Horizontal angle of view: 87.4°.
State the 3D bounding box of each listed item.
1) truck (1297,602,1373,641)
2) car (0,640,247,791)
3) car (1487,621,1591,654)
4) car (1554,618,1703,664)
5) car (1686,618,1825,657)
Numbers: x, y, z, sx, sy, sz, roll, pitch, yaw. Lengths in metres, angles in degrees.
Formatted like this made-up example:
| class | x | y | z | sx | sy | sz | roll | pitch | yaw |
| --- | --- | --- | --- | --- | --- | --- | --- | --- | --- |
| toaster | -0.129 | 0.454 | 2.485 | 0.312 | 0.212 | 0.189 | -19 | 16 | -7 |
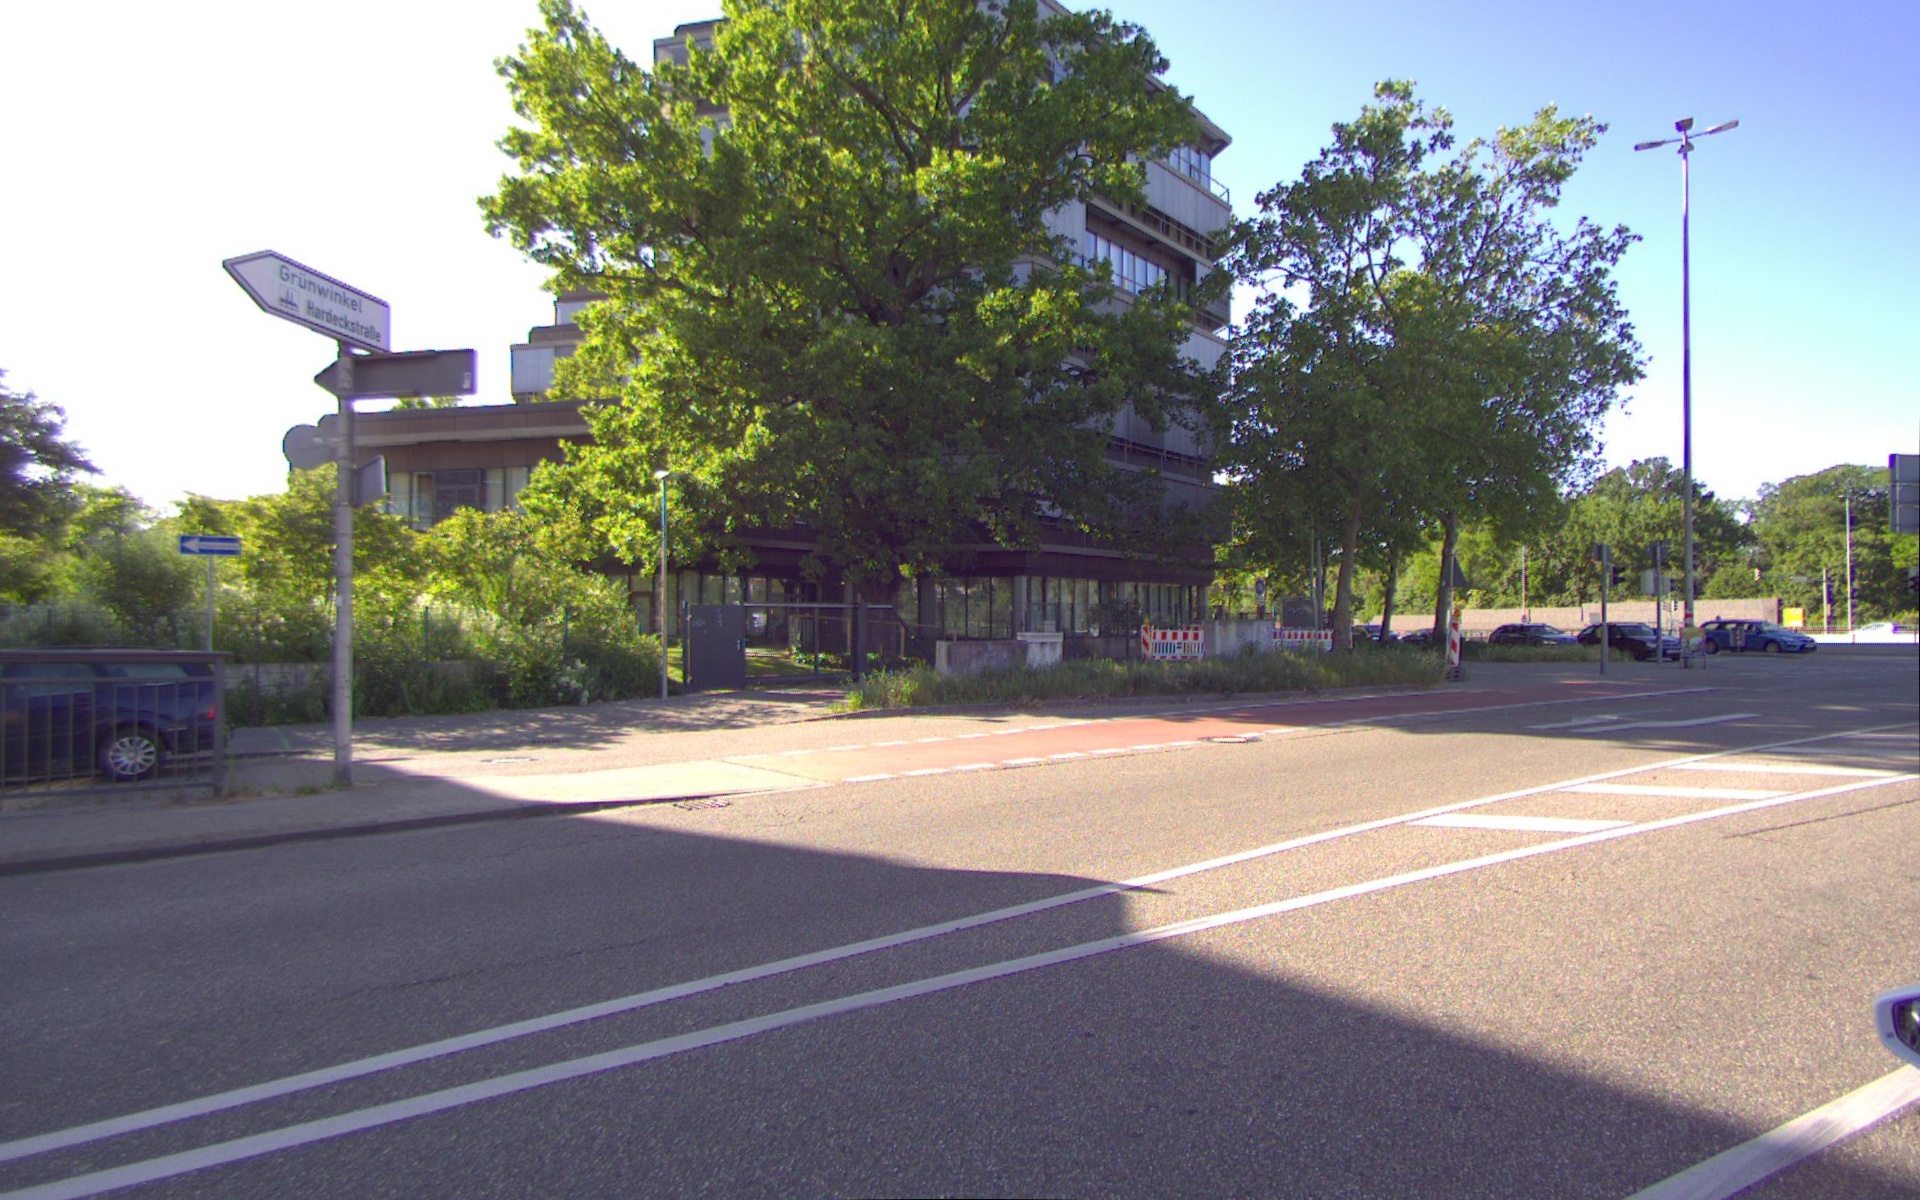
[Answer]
| class | x | y | z | sx | sy | sz | roll | pitch | yaw |
| --- | --- | --- | --- | --- | --- | --- | --- | --- | --- |
| truck | 24.707 | 1.408 | 66.615 | 2.121 | 2.391 | 7.515 | 0 | -1 | -1 |
| car | -10.713 | 1.303 | 11.286 | 4.339 | 1.528 | 1.642 | -1 | -3 | -38 |
| car | 26.064 | 1.646 | 45.375 | 1.844 | 1.376 | 4.507 | 0 | -1 | -4 |
| car | 25.783 | 1.543 | 38.967 | 1.918 | 1.643 | 4.773 | 0 | -1 | -13 |
| car | 34.302 | 1.589 | 43.493 | 1.920 | 1.561 | 4.443 | 0 | -1 | -16 |
